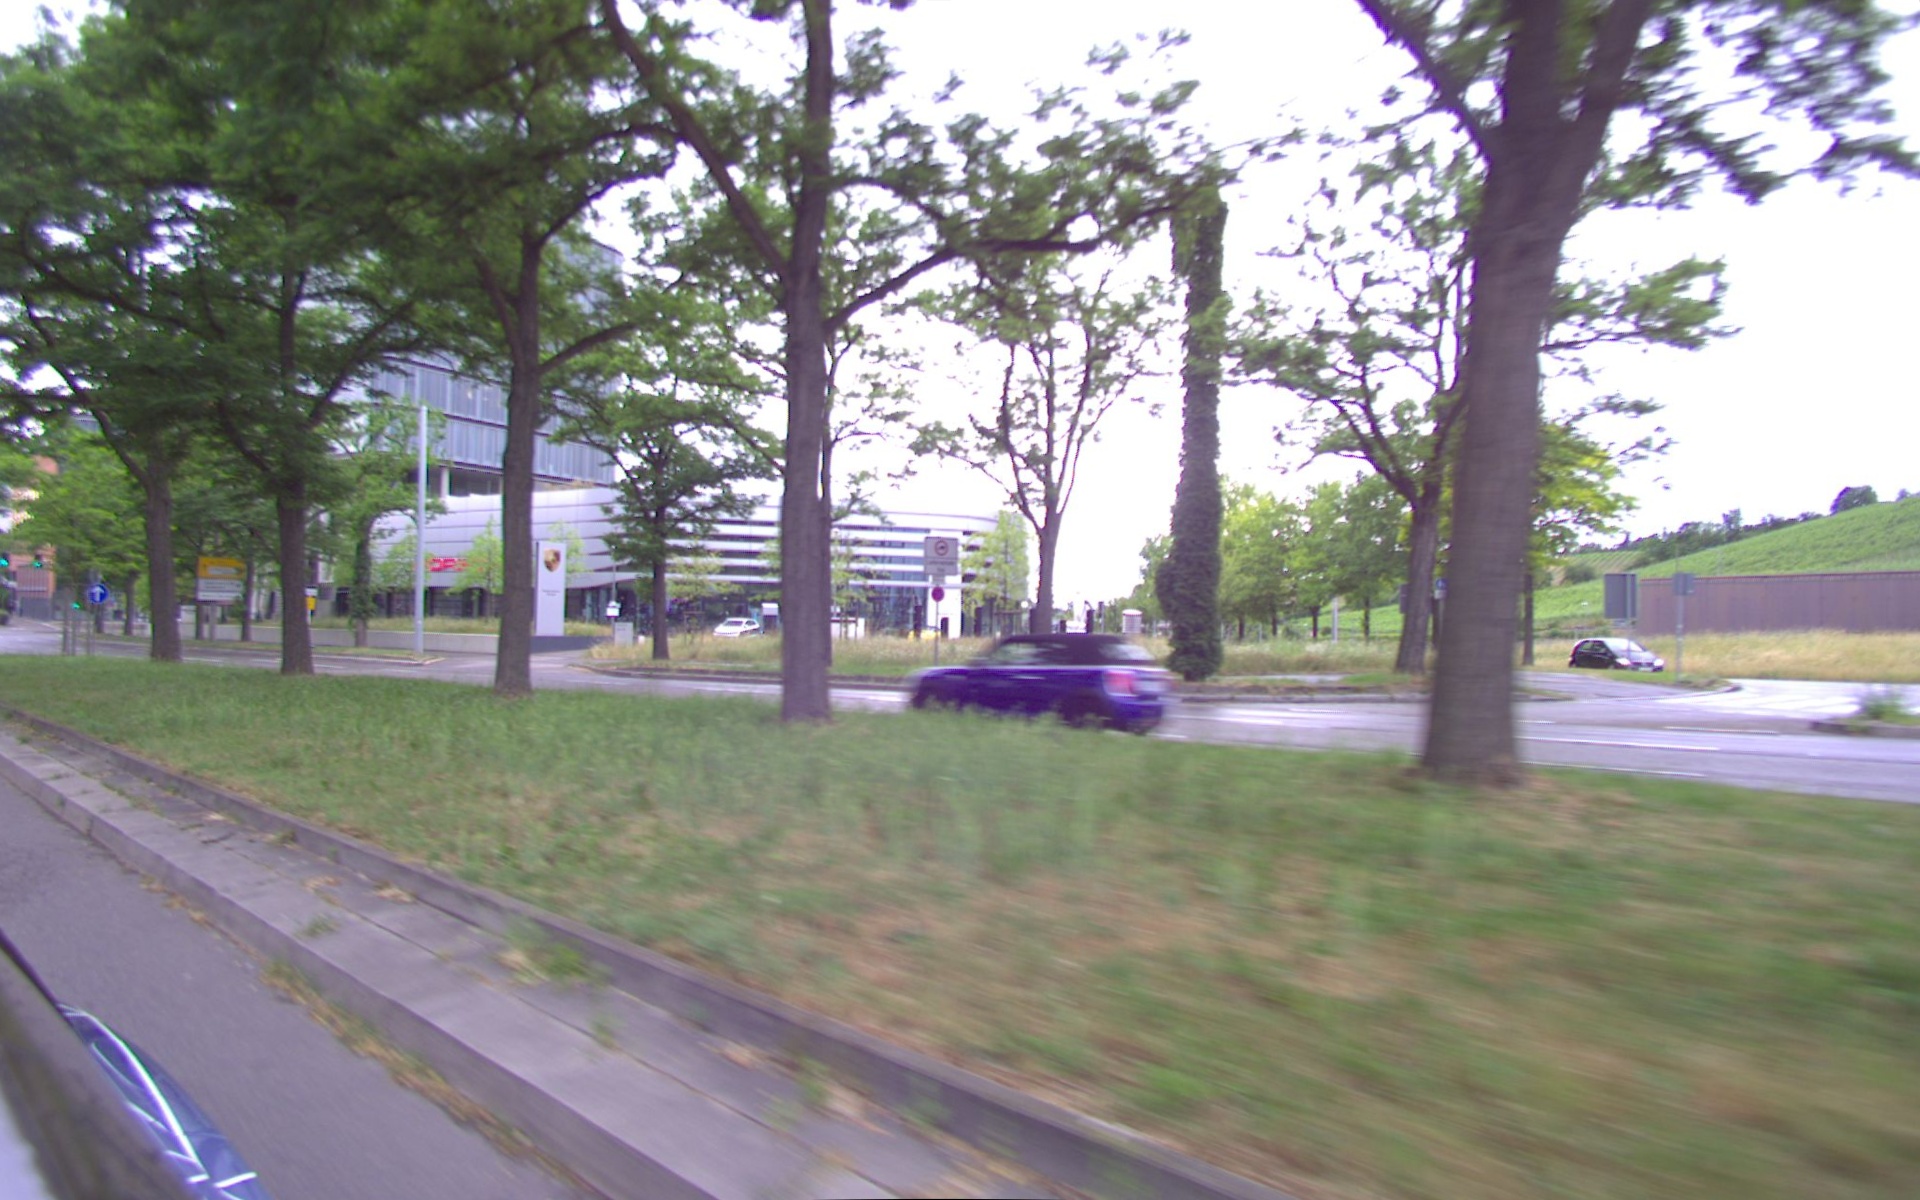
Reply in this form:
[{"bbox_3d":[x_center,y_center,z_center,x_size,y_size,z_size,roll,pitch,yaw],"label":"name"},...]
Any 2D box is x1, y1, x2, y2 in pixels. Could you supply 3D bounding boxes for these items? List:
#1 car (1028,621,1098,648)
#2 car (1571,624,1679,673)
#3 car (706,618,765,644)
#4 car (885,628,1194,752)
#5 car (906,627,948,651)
[{"bbox_3d":[5.330,1.794,52.993,1.592,1.254,4.012,-1,1,-30],"label":"car"},{"bbox_3d":[25.802,1.853,39.433,1.977,1.674,3.990,0,0,8],"label":"car"},{"bbox_3d":[-13.861,1.875,62.654,1.765,1.423,3.975,0,0,19],"label":"car"},{"bbox_3d":[1.021,1.111,13.781,3.874,1.406,1.770,-1,-1,36],"label":"car"},{"bbox_3d":[-2.082,2.498,65.145,1.605,1.334,3.981,0,0,15],"label":"car"}]
